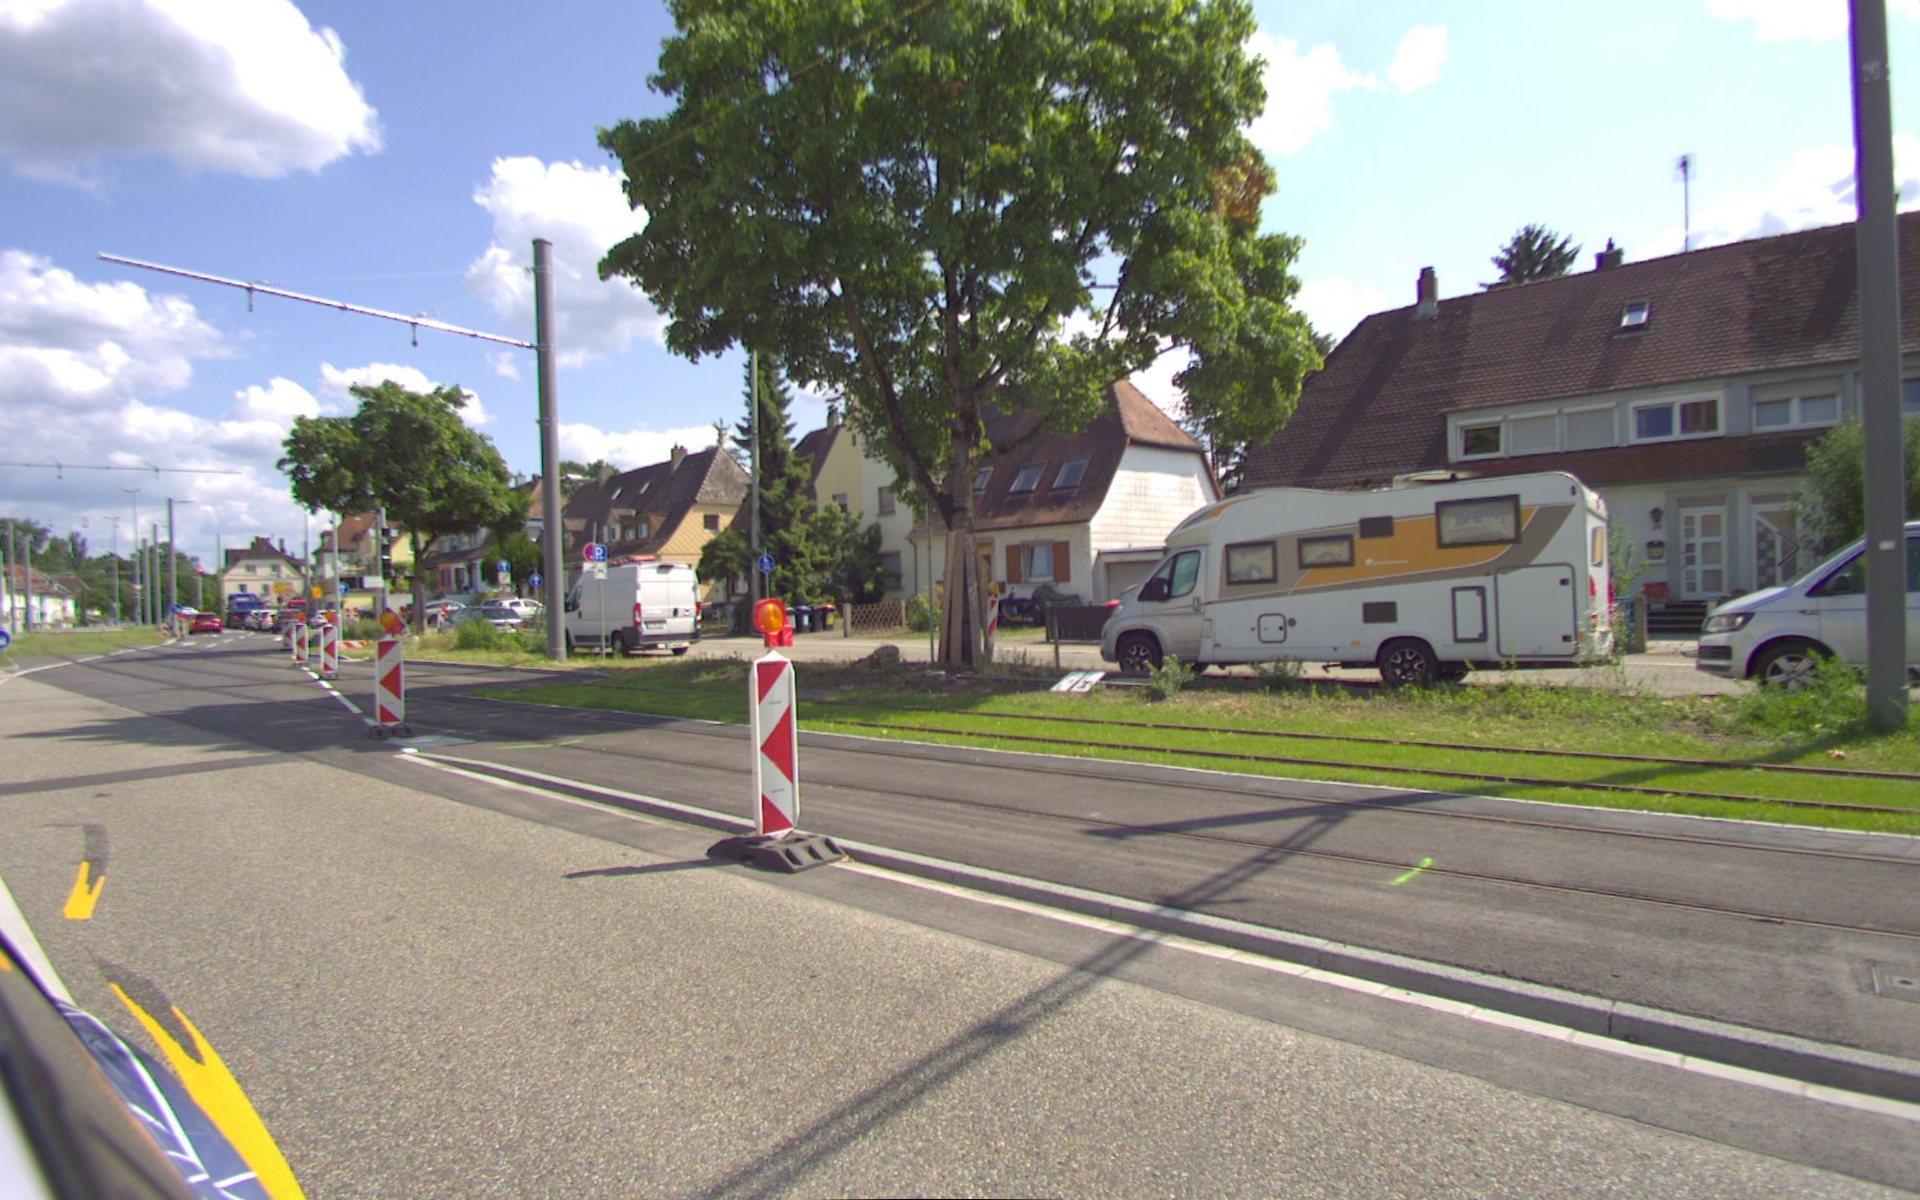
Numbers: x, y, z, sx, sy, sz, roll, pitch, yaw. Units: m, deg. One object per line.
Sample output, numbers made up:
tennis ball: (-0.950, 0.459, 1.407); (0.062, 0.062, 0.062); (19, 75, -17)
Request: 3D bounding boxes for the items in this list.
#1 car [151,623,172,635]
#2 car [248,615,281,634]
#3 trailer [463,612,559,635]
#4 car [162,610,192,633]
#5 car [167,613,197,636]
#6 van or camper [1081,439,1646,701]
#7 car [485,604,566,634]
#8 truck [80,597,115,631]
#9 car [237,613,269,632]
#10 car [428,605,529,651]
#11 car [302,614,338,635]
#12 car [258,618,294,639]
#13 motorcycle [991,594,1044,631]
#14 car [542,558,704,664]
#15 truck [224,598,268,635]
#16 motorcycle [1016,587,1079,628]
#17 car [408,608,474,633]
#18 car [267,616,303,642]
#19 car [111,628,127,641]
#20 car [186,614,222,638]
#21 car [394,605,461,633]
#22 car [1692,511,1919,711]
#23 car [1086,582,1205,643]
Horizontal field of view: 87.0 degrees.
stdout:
car: (-129.924, 4.723, 164.669); (2.248, 1.886, 4.998); (-2, 0, -34)
car: (-52.649, 1.823, 76.544); (1.703, 1.345, 4.550); (-2, 0, -39)
trailer: (-26.715, 1.401, 60.318); (1.961, 1.133, 4.865); (-2, 0, 45)
car: (-72.582, 1.972, 93.768); (1.894, 1.979, 4.547); (-2, 0, -42)
car: (-67.527, 2.091, 87.853); (1.704, 1.868, 4.547); (-2, 0, -42)
van or camper: (5.522, -0.295, 14.828); (7.289, 2.992, 2.352); (-1, 0, 40)
car: (-25.022, 1.106, 58.403); (1.760, 1.556, 3.910); (-2, 0, 40)
truck: (-143.660, 2.327, 168.761); (3.422, 5.222, 14.249); (-2, 0, -37)
car: (-60.828, 1.924, 87.073); (1.704, 1.574, 4.547); (-2, 0, -42)
car: (-17.180, 0.984, 35.993); (4.757, 1.476, 1.673); (-2, 0, 45)
car: (-50.296, 1.910, 79.510); (1.704, 1.574, 4.548); (-2, 0, -41)
car: (-48.136, 1.966, 71.179); (1.703, 1.345, 4.550); (-2, 0, -39)
motorcycle: (1.873, 0.408, 33.177); (1.792, 1.178, 0.491); (-1, 0, 40)
car: (-9.459, 0.296, 28.214); (4.915, 2.688, 2.130); (-1, 0, 43)
truck: (-65.889, 1.545, 93.284); (2.800, 3.178, 7.949); (-2, 0, -39)
motorcycle: (2.864, 0.245, 33.309); (1.992, 1.282, 0.572); (-1, 0, 29)
car: (-36.544, 1.430, 71.317); (1.683, 1.567, 3.834); (-2, 0, 45)
car: (-43.748, 1.838, 65.558); (1.702, 1.538, 4.782); (-2, 0, -36)
car: (-152.558, 6.243, 183.537); (2.028, 2.023, 4.959); (-1, 0, -38)
car: (-53.753, 1.842, 71.903); (1.704, 1.574, 4.548); (-2, 0, -41)
car: (-38.621, 1.391, 73.420); (3.941, 1.859, 1.803); (-2, 0, -45)
car: (10.800, 0.073, 10.626); (4.899, 2.029, 1.974); (-2, 0, 40)
car: (5.229, 0.319, 28.252); (1.670, 1.533, 3.580); (-1, 1, 41)
